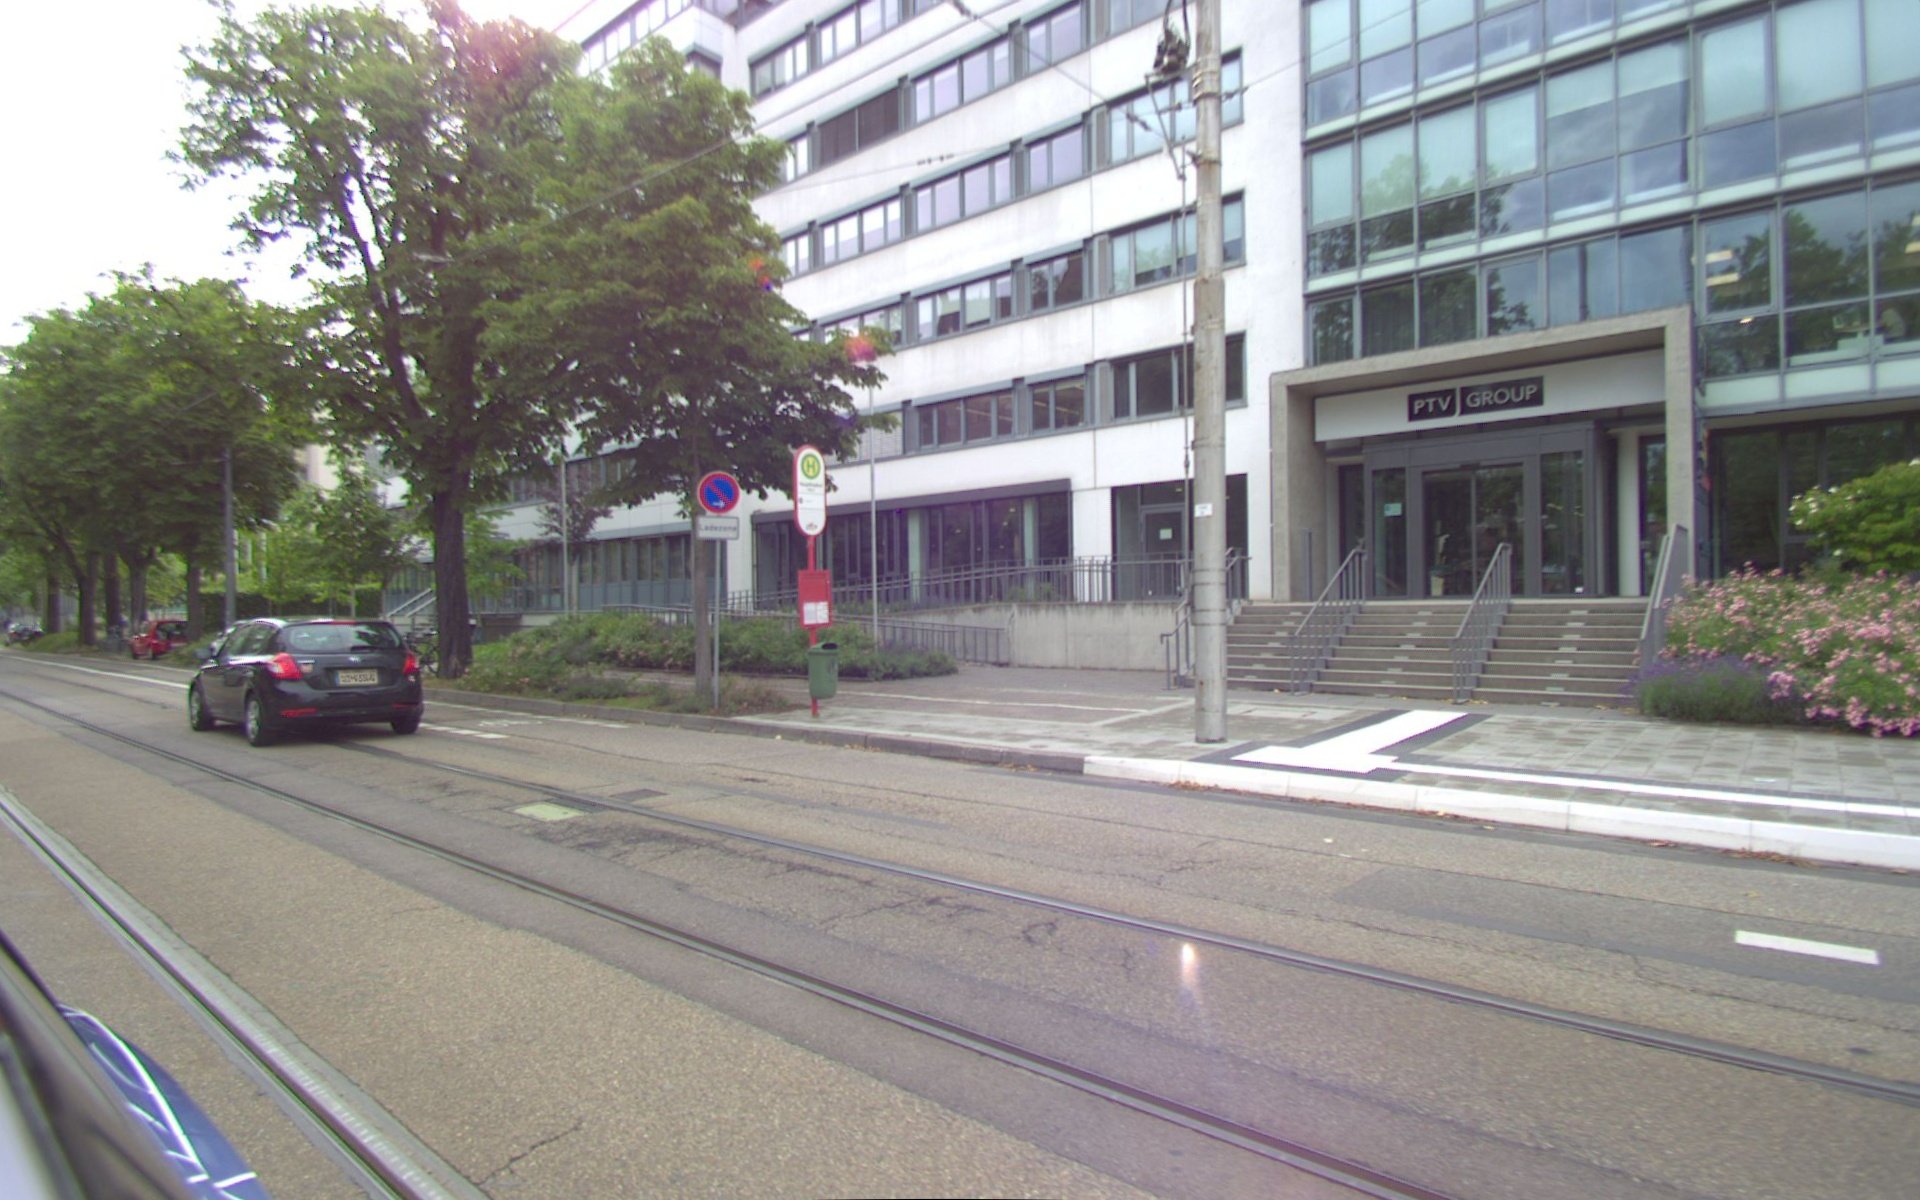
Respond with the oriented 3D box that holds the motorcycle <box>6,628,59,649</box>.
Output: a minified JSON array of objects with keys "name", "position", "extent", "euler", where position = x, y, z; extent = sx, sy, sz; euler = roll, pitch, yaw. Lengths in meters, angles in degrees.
[{"name":"motorcycle","position":[-52.341,2.163,57.119],"extent":[2.100,1.111,0.776],"euler":[-2,1,-8]}]

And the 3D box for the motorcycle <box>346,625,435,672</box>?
[{"name":"motorcycle","position":[-14.067,1.178,25.042],"extent":[0.731,1.058,1.773],"euler":[-1,0,34]}]

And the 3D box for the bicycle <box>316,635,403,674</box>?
[{"name":"bicycle","position":[-15.153,1.365,25.571],"extent":[0.631,0.906,1.790],"euler":[0,-1,35]}]

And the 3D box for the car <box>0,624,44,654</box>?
[{"name":"car","position":[-58.657,2.402,63.234],"extent":[4.001,1.722,1.791],"euler":[-1,1,44]}]

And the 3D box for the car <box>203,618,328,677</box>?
[{"name":"car","position":[-20.252,1.330,29.427],"extent":[4.751,1.504,1.862],"euler":[-1,1,41]}]

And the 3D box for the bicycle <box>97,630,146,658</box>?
[{"name":"bicycle","position":[-35.410,1.840,42.741],"extent":[0.614,1.100,1.460],"euler":[-1,1,28]}]

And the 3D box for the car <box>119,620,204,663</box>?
[{"name":"car","position":[-30.272,1.540,38.349],"extent":[3.752,1.458,1.613],"euler":[-1,3,38]}]

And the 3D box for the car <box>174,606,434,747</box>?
[{"name":"car","position":[-8.358,0.884,12.753],"extent":[4.061,1.497,1.729],"euler":[-2,-2,41]}]

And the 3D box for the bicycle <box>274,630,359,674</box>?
[{"name":"bicycle","position":[-17.114,1.368,26.959],"extent":[0.631,1.108,1.790],"euler":[0,-1,35]}]

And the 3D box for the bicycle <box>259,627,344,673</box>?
[{"name":"bicycle","position":[-17.908,1.333,27.535],"extent":[1.843,1.195,0.633],"euler":[1,-2,-45]}]

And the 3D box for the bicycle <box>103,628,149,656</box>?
[{"name":"bicycle","position":[-35.951,1.814,43.651],"extent":[0.617,1.149,1.454],"euler":[-1,0,40]}]

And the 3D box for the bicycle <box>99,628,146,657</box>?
[{"name":"bicycle","position":[-36.361,1.820,43.948],"extent":[0.617,1.149,1.455],"euler":[-1,1,40]}]
